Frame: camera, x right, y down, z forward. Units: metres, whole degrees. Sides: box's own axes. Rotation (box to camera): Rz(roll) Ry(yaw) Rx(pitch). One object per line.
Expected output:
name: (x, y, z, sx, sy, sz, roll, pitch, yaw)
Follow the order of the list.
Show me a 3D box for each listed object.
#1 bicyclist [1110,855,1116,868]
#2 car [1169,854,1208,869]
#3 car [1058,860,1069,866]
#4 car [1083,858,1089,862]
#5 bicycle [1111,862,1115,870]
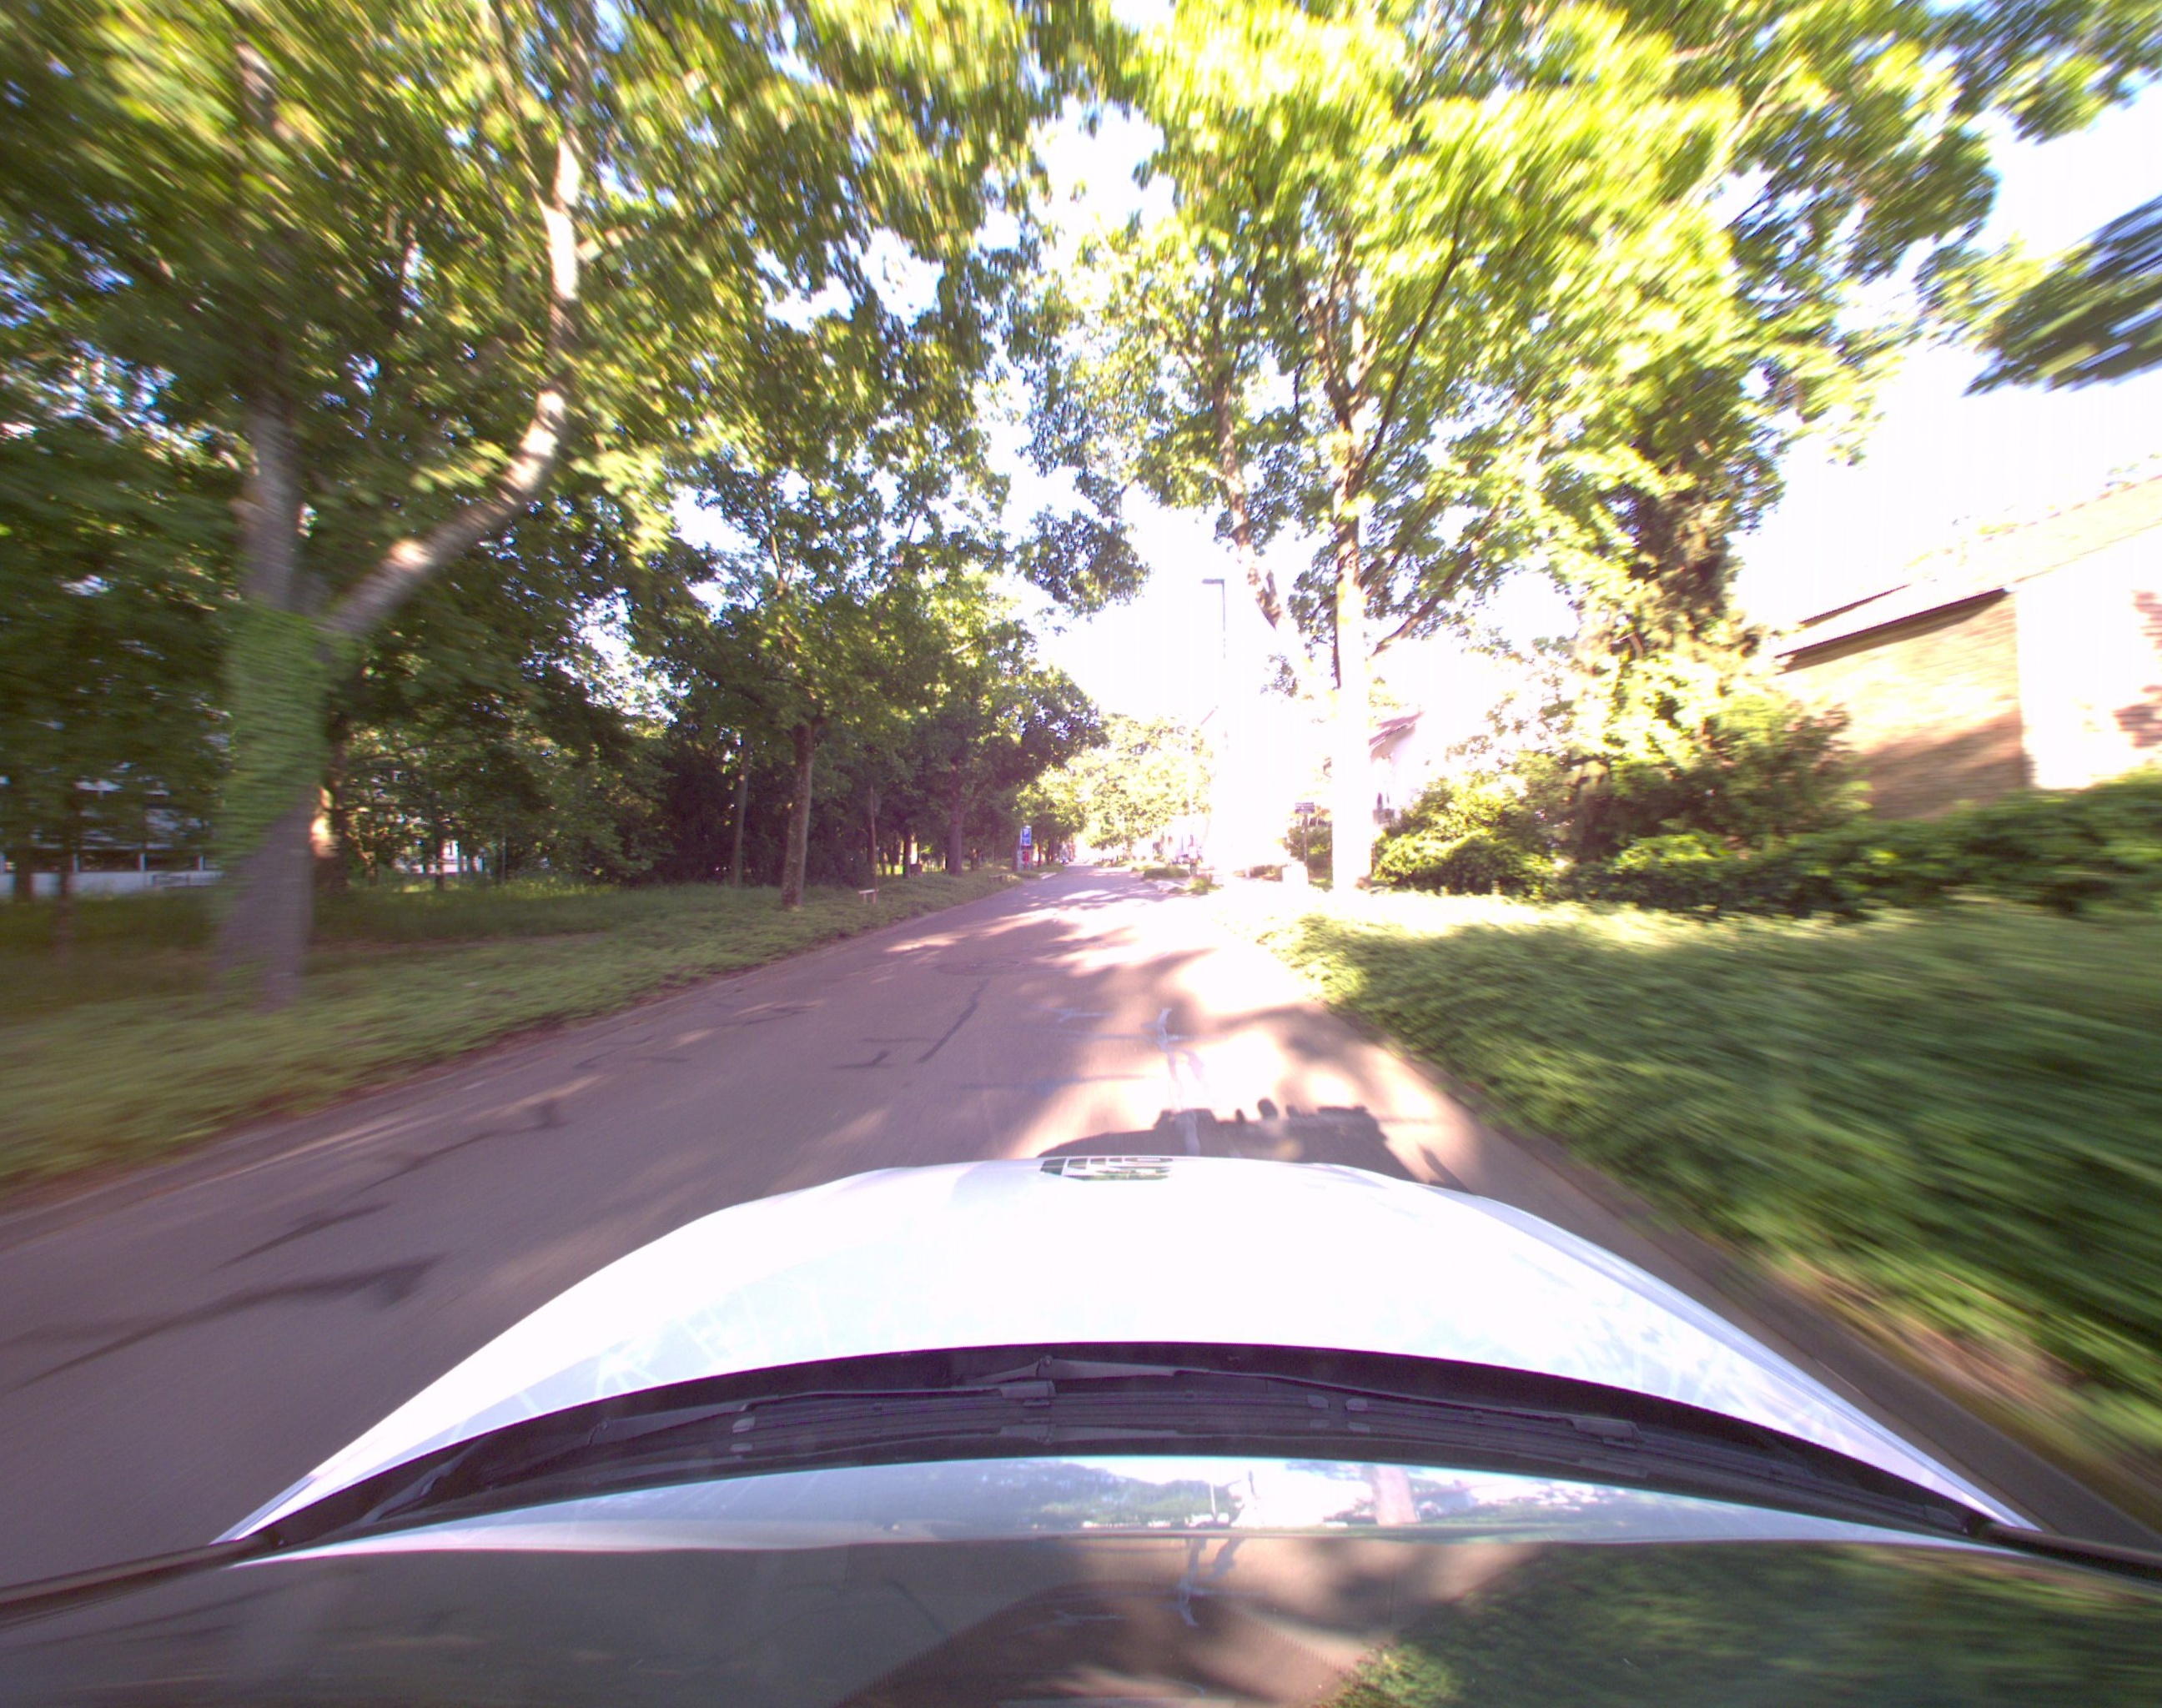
bicyclist: (4.235, 1.007, 108.478, 0.864, 1.641, 1.115, 0, 1, 1)
car: (12.443, 0.856, 94.147, 4.326, 1.353, 2.149, 2, 3, 7)
car: (-3.980, 1.992, 186.236, 1.992, 1.354, 3.531, 0, 0, -8)
car: (1.463, 1.665, 233.613, 1.833, 0.991, 3.819, 0, 0, 0)
bicycle: (4.278, 1.566, 108.450, 0.437, 0.978, 1.662, -1, 1, 2)
